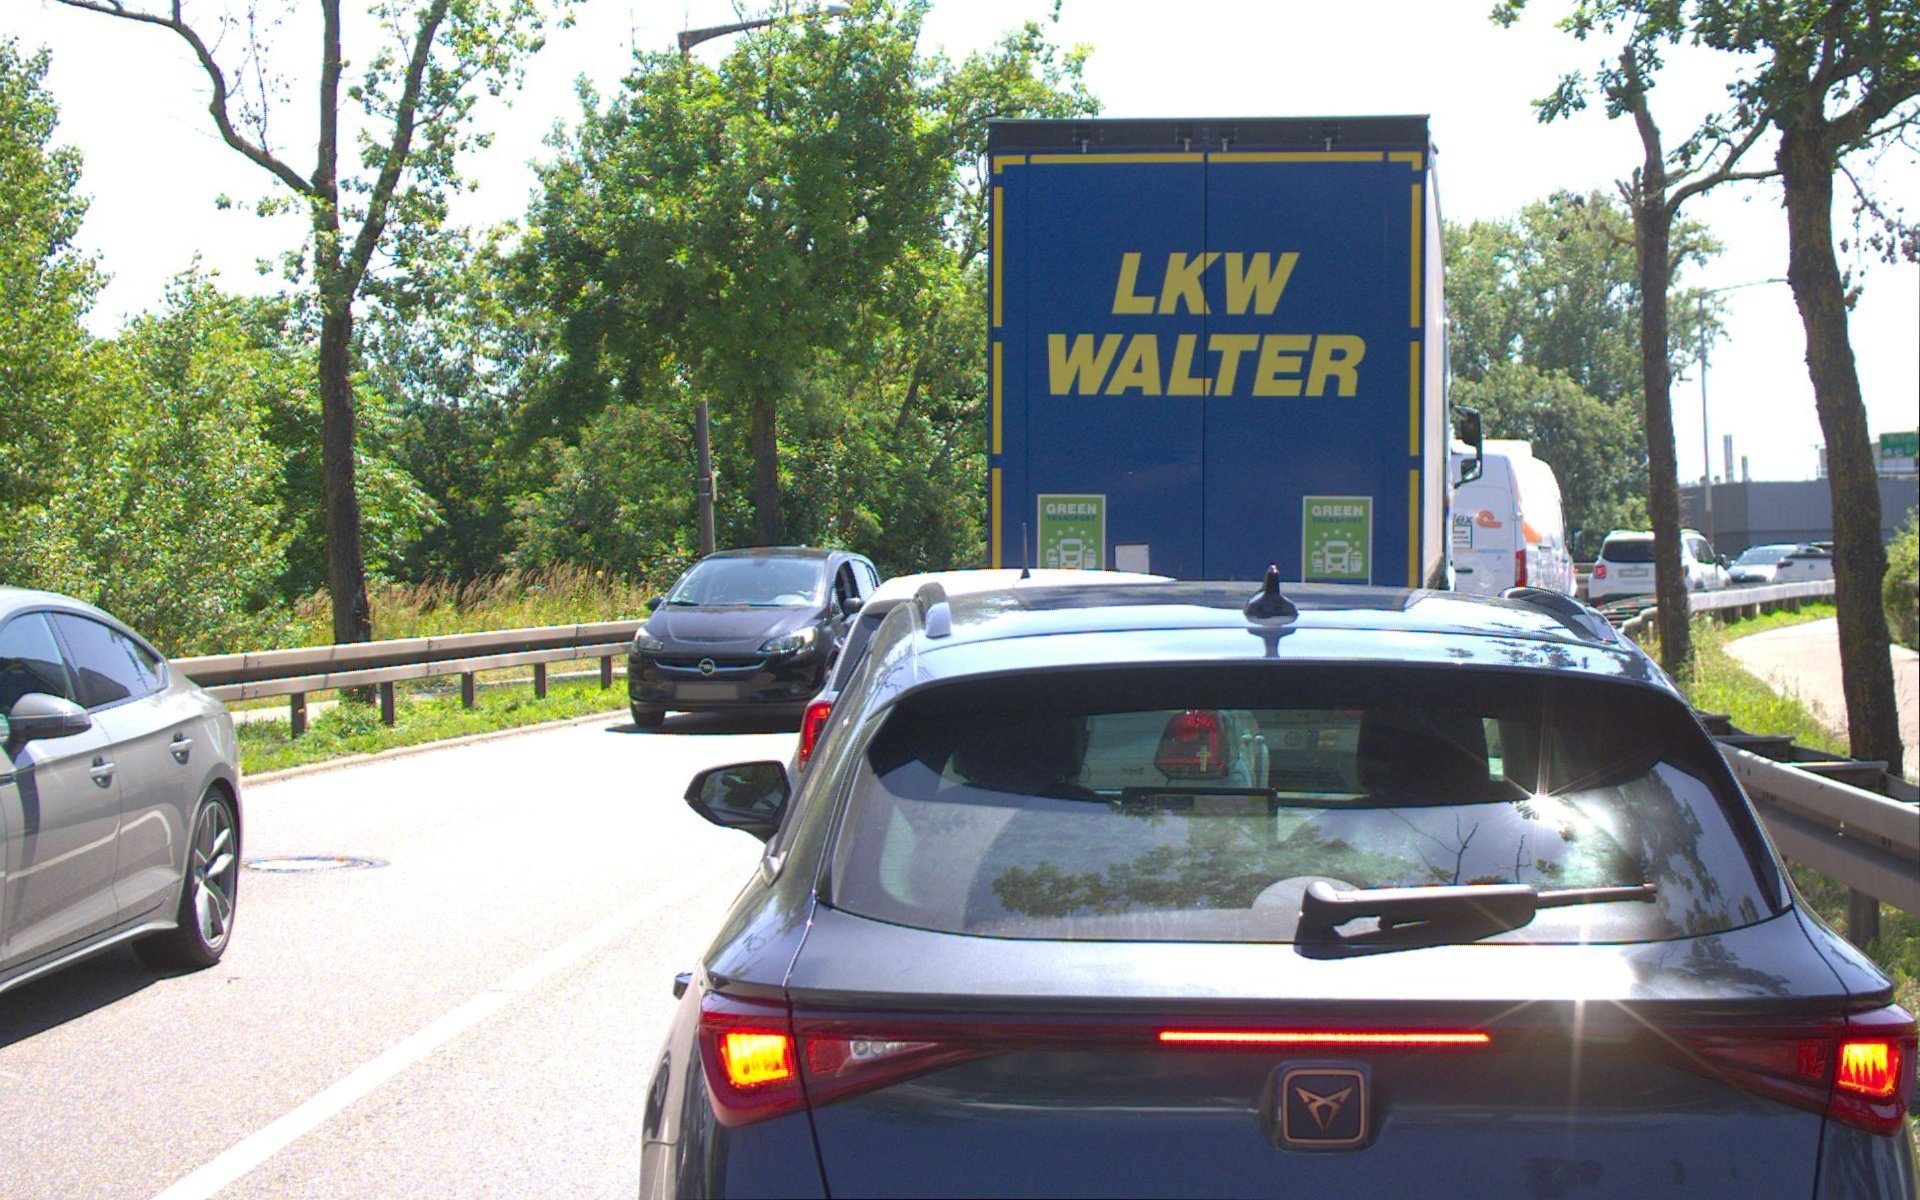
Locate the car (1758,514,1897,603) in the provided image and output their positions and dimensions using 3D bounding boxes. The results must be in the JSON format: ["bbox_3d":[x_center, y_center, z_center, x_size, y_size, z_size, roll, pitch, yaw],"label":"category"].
[{"bbox_3d":[18.297,-0.878,72.354,1.996,1.802,4.839,1,1,24],"label":"car"}]

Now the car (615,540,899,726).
[{"bbox_3d":[-1.661,0.234,29.394,1.671,1.461,3.819,1,1,8],"label":"car"}]

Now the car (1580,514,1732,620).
[{"bbox_3d":[11.874,-0.567,58.447,1.995,1.706,4.616,1,1,18],"label":"car"}]

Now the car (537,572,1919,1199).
[{"bbox_3d":[0.410,0.692,5.637,1.744,1.427,3.880,1,1,0],"label":"car"}]

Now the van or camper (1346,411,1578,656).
[{"bbox_3d":[6.697,-0.868,45.249,2.468,2.988,6.083,1,1,13],"label":"van or camper"}]

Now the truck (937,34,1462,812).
[{"bbox_3d":[2.574,-1.136,28.106,2.951,4.433,16.793,1,1,8],"label":"truck"}]

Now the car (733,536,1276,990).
[{"bbox_3d":[0.191,0.517,13.550,1.809,1.503,4.000,1,1,1],"label":"car"}]

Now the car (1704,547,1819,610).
[{"bbox_3d":[19.292,-0.524,82.653,1.674,1.461,3.814,1,1,29],"label":"car"}]

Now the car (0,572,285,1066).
[{"bbox_3d":[-3.577,0.624,10.795,1.759,1.391,4.405,1,1,4],"label":"car"}]
